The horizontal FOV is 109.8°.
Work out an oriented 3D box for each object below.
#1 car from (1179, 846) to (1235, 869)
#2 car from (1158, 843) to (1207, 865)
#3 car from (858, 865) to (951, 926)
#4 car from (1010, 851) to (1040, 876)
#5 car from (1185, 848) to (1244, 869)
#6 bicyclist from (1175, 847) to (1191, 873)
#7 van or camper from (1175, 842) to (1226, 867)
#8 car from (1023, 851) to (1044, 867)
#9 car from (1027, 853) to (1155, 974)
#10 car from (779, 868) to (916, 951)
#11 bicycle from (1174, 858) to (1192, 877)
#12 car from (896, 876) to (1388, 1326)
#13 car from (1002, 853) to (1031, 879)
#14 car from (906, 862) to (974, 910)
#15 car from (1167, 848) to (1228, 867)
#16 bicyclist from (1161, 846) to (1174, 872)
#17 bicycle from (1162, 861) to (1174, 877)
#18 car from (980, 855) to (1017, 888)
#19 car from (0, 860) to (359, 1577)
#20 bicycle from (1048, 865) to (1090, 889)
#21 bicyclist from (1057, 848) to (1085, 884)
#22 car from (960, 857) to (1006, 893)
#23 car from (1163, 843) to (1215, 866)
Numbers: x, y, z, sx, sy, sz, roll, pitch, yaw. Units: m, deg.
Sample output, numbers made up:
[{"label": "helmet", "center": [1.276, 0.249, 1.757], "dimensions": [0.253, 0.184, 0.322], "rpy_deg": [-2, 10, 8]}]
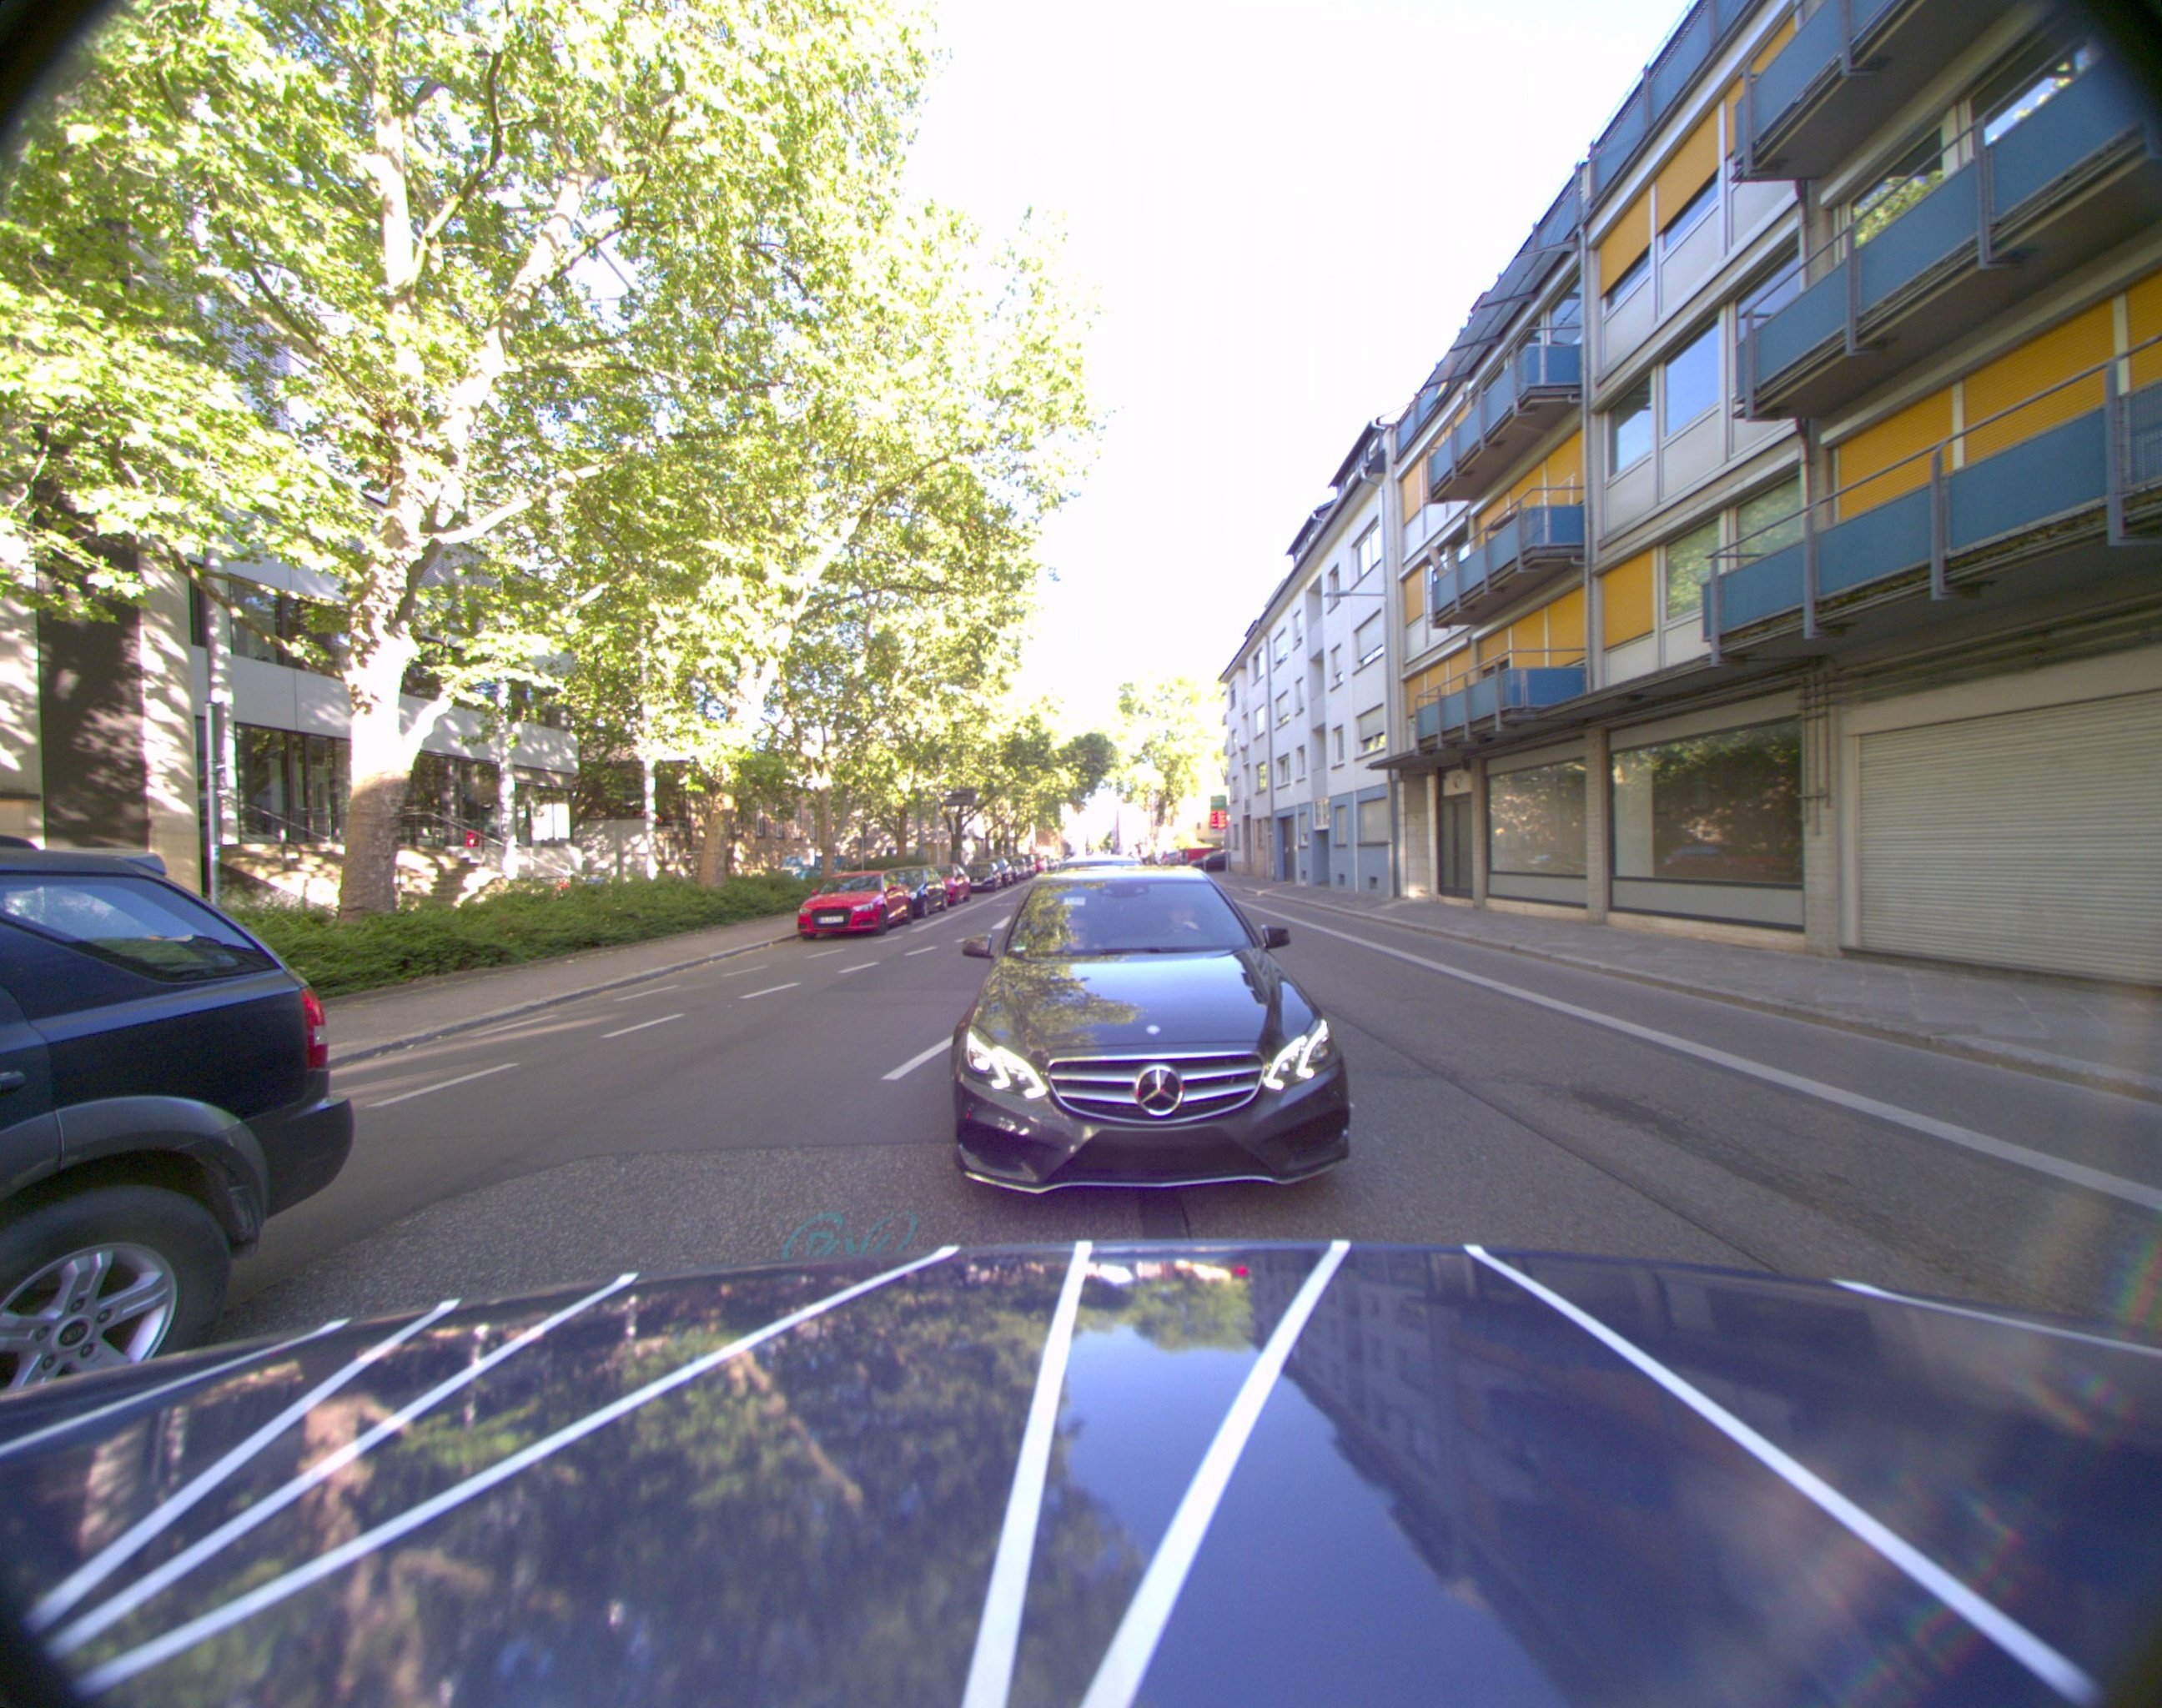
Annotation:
[{"label": "car", "center": [10.143, 0.275, 61.299], "dimensions": [4.146, 1.681, 2.000], "rpy_deg": [-2, 0, 1]}, {"label": "car", "center": [11.045, -0.001, 82.829], "dimensions": [4.990, 2.181, 2.000], "rpy_deg": [-2, 1, 1]}, {"label": "car", "center": [-5.090, 1.142, 22.461], "dimensions": [1.741, 1.444, 4.091], "rpy_deg": [-4, 0, 0]}, {"label": "car", "center": [-4.340, 0.727, 59.856], "dimensions": [1.992, 1.795, 4.376], "rpy_deg": [-2, 0, 0]}, {"label": "car", "center": [10.319, 0.330, 58.968], "dimensions": [4.146, 1.486, 2.000], "rpy_deg": [-2, 0, 1]}, {"label": "bicyclist", "center": [6.306, 0.354, 46.846], "dimensions": [0.844, 1.546, 0.839], "rpy_deg": [-2, 1, 1]}, {"label": "van or camper", "center": [10.065, 0.030, 64.206], "dimensions": [3.997, 2.002, 2.000], "rpy_deg": [-2, 1, 0]}, {"label": "car", "center": [-4.377, 0.442, 70.453], "dimensions": [1.741, 1.469, 4.091], "rpy_deg": [-2, 0, 0]}, {"label": "car", "center": [0.169, 0.811, 12.580], "dimensions": [1.646, 1.520, 4.619], "rpy_deg": [-4, 0, 1]}, {"label": "car", "center": [-5.228, 1.176, 17.648], "dimensions": [1.830, 1.519, 4.142], "rpy_deg": [-4, 0, 0]}, {"label": "bicycle", "center": [6.318, 0.829, 47.017], "dimensions": [0.865, 1.072, 1.836], "rpy_deg": [-2, 0, 1]}, {"label": "car", "center": [0.218, 0.953, 4.686], "dimensions": [1.740, 1.448, 3.864], "rpy_deg": [-2, 0, 0]}, {"label": "car", "center": [-4.609, 0.839, 54.849], "dimensions": [1.741, 1.785, 3.895], "rpy_deg": [-2, 0, 0]}, {"label": "car", "center": [-5.043, 1.093, 27.612], "dimensions": [1.681, 1.484, 3.918], "rpy_deg": [-4, 0, 0]}, {"label": "car", "center": [10.166, 0.291, 66.708], "dimensions": [4.990, 1.486, 2.000], "rpy_deg": [-2, 0, 1]}, {"label": "bicyclist", "center": [5.369, 0.306, 47.192], "dimensions": [0.686, 1.569, 0.982], "rpy_deg": [-2, 1, 4]}, {"label": "bicycle", "center": [5.387, 0.944, 47.160], "dimensions": [0.695, 0.924, 1.864], "rpy_deg": [-2, 0, 5]}, {"label": "car", "center": [-4.544, 0.918, 42.353], "dimensions": [1.634, 1.677, 3.907], "rpy_deg": [-2, 0, 0]}, {"label": "car", "center": [-3.622, 0.962, 0.595], "dimensions": [1.785, 1.760, 4.384], "rpy_deg": [-3, 0, 1]}, {"label": "bicycle", "center": [-0.553, 1.044, 35.001], "dimensions": [1.803, 1.009, 0.732], "rpy_deg": [-2, 1, -37]}, {"label": "bicyclist", "center": [-0.475, 0.551, 35.052], "dimensions": [1.039, 1.610, 0.696], "rpy_deg": [-3, 1, -37]}, {"label": "car", "center": [-4.750, 0.973, 37.334], "dimensions": [1.741, 1.622, 4.091], "rpy_deg": [-2, 0, 0]}, {"label": "car", "center": [10.921, 0.033, 77.346], "dimensions": [4.990, 2.181, 2.000], "rpy_deg": [-2, 1, 1]}]
